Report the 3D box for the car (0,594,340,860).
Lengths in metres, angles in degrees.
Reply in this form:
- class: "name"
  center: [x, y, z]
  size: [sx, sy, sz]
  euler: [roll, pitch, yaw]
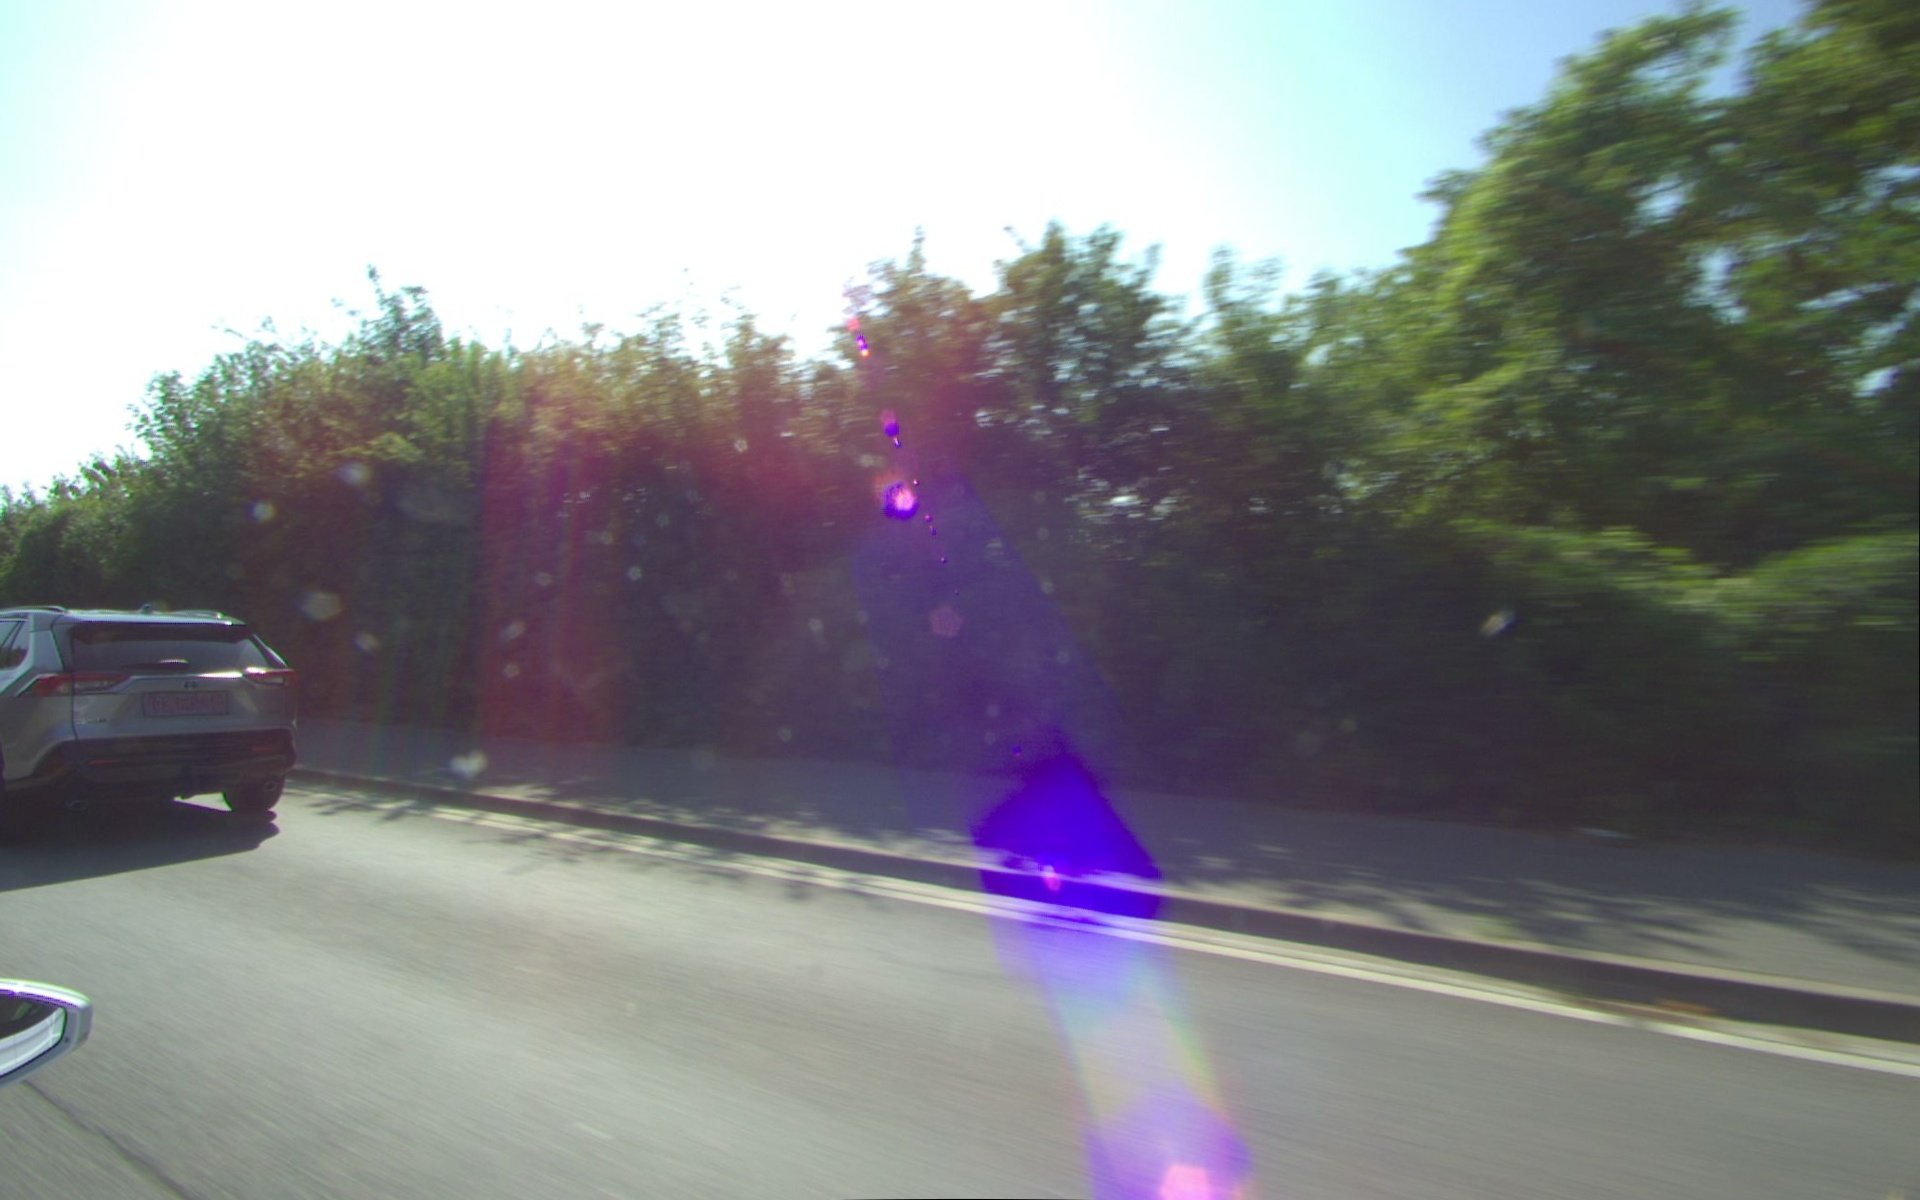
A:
- class: "car"
  center: [-7.431, 0.881, 8.463]
  size: [4.616, 1.701, 1.899]
  euler: [-1, -2, 32]
